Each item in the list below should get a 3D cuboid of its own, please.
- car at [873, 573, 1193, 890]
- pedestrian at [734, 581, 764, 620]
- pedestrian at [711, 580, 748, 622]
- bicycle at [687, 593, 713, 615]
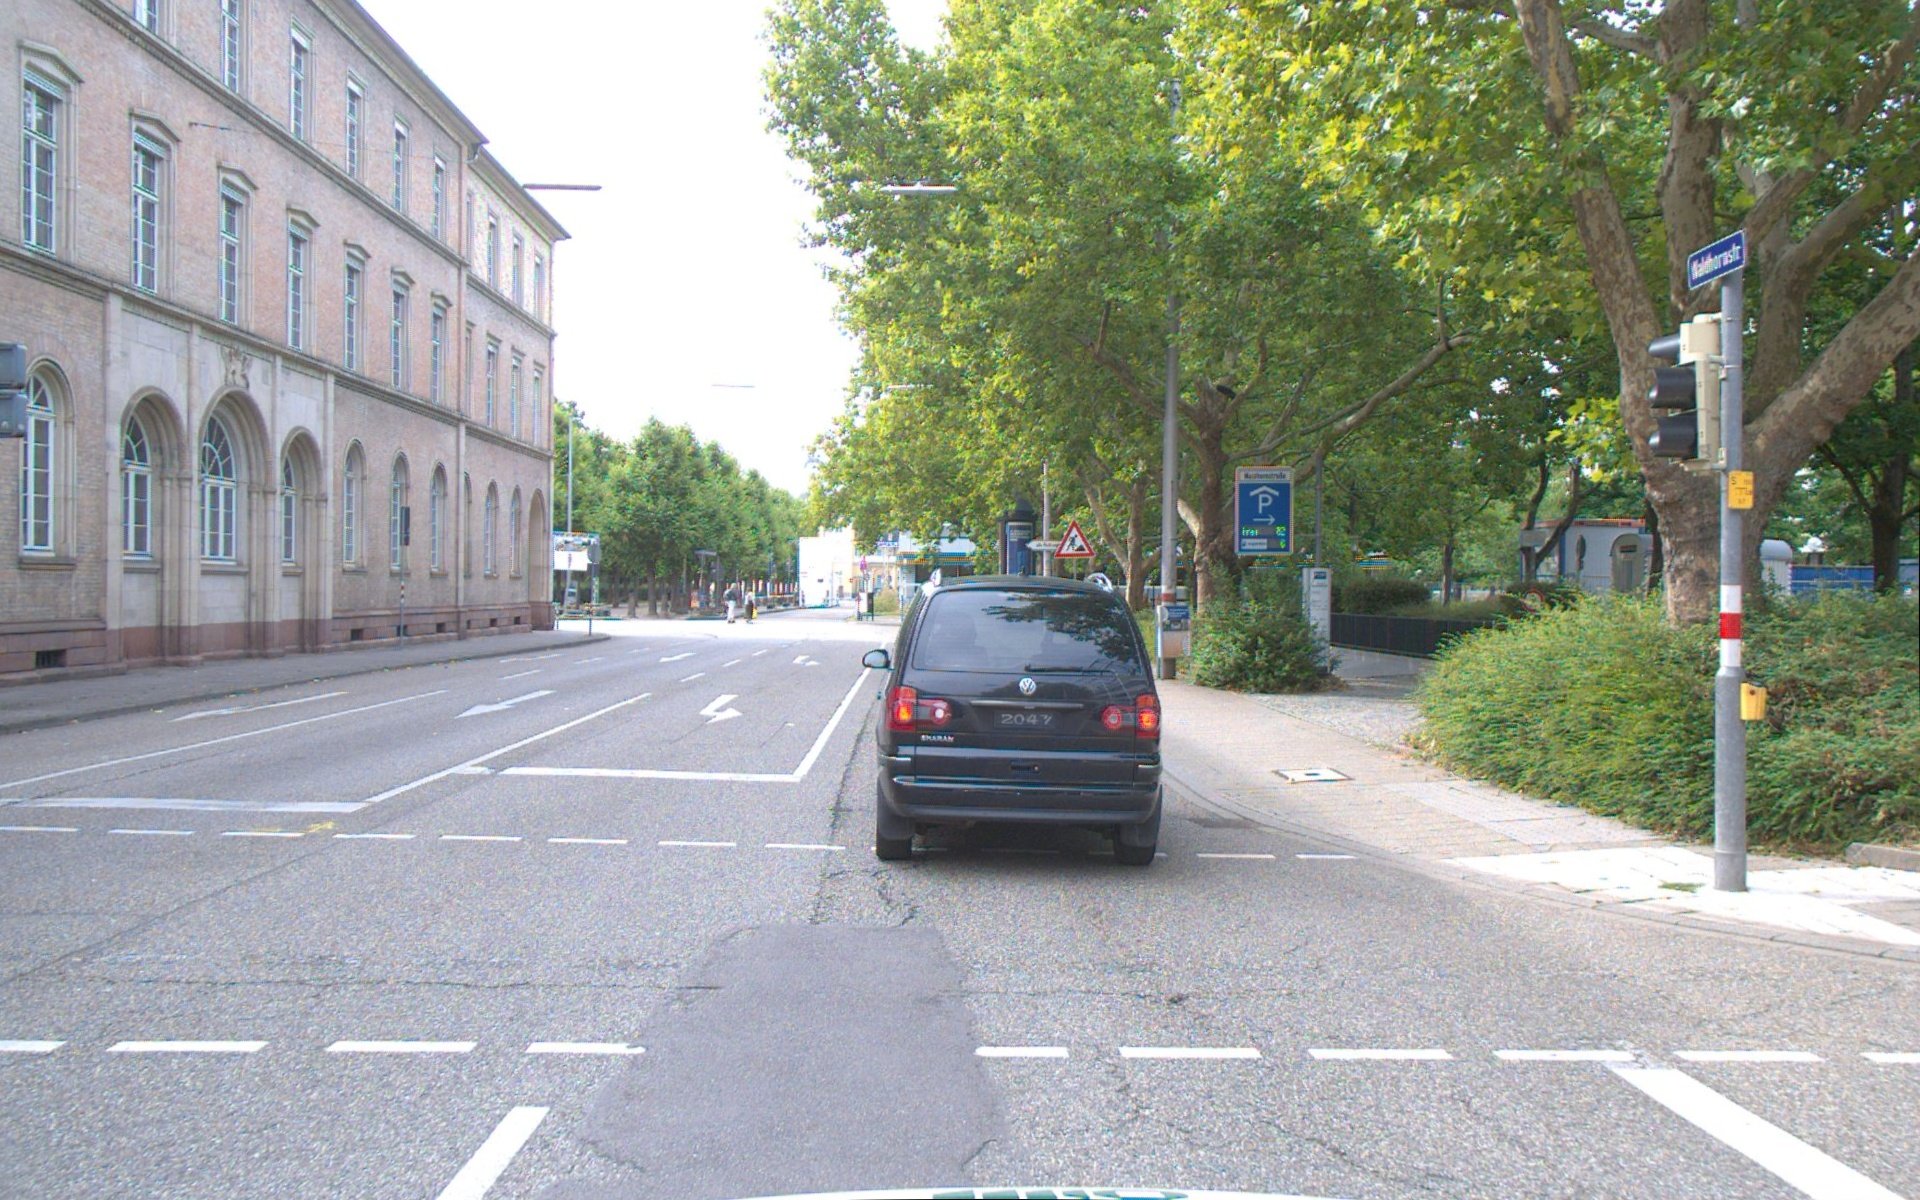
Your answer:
[{"bbox_3d":[0.337,0.697,11.165,1.757,1.738,4.129,0,1,-2],"label":"car"},{"bbox_3d":[-9.145,0.017,71.675,0.880,1.670,0.850,2,0,34],"label":"pedestrian"},{"bbox_3d":[-10.021,0.043,71.809,0.944,1.772,1.250,2,0,37],"label":"pedestrian"},{"bbox_3d":[-14.467,0.239,91.964,0.937,1.129,2.566,2,1,-19],"label":"bicycle"}]
